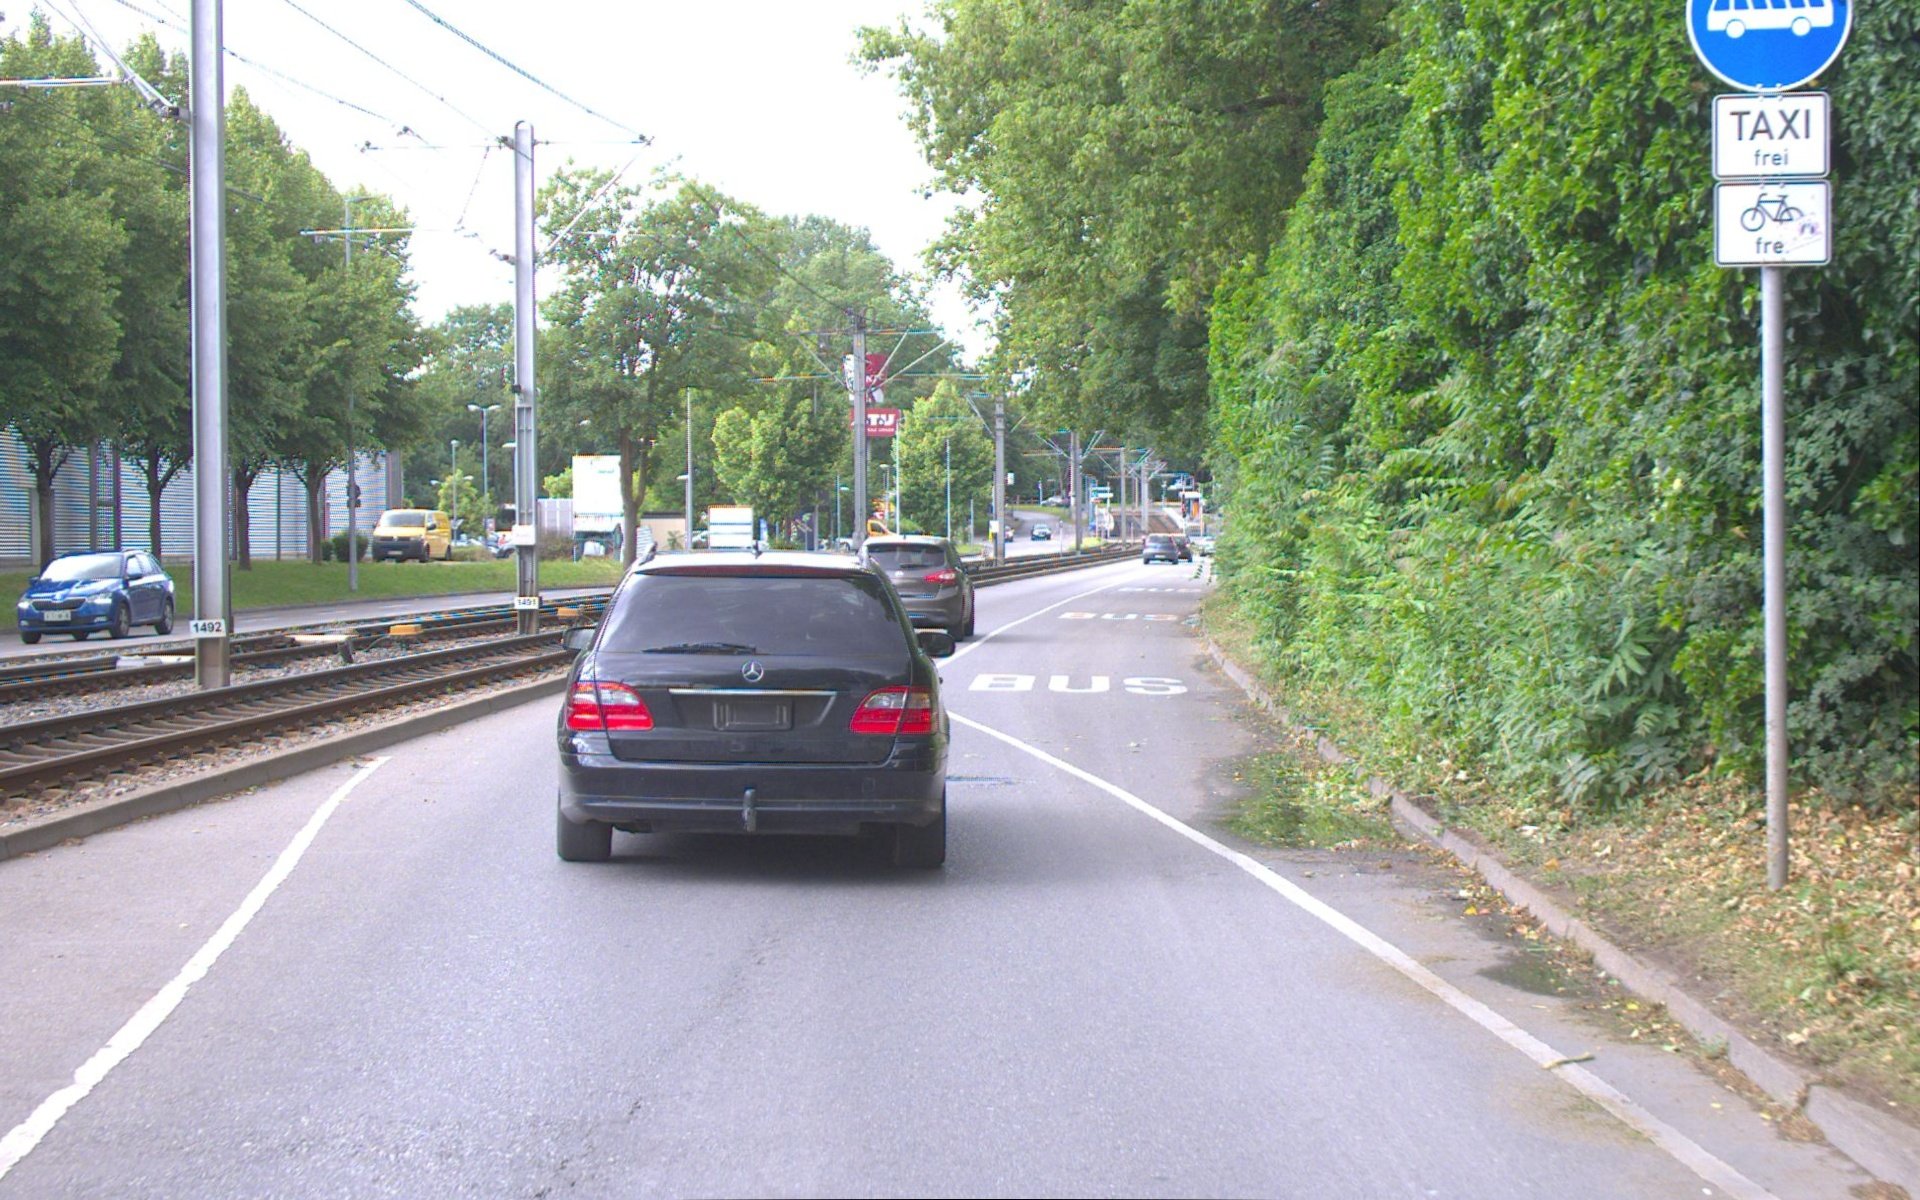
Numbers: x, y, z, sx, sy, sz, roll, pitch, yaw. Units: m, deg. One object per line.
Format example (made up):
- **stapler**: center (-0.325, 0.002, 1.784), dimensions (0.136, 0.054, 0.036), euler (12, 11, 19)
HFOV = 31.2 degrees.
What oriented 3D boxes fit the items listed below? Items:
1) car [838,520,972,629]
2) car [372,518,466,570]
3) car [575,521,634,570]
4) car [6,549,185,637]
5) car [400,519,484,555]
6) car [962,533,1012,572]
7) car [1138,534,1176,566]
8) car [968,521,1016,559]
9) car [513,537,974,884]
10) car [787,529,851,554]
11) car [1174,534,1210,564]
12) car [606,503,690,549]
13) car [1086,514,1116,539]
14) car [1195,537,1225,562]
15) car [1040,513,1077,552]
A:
- **car**: center (-0.772, -0.401, 50.884), dimensions (1.825, 1.524, 4.416), euler (1, 1, 1)
- **car**: center (-18.680, -1.939, 118.890), dimensions (1.994, 1.737, 4.987), euler (-1, 1, 5)
- **car**: center (-15.431, -2.354, 149.376), dimensions (1.993, 2.007, 4.000), euler (-2, 1, 1)
- **car**: center (-14.169, -0.138, 56.506), dimensions (1.660, 1.388, 3.718), euler (0, 1, 6)
- **car**: center (-26.258, -3.169, 174.249), dimensions (3.986, 1.674, 2.001), euler (-2, 1, -13)
- **car**: center (1.118, -1.928, 138.468), dimensions (1.825, 1.524, 3.986), euler (1, 1, 3)
- **car**: center (9.625, -2.453, 168.066), dimensions (1.825, 1.524, 4.415), euler (1, 1, 3)
- **car**: center (1.357, -2.513, 143.310), dimensions (1.825, 1.524, 3.986), euler (1, 1, 3)
- **car**: center (-0.921, 0.442, 16.960), dimensions (1.833, 1.473, 4.415), euler (1, 1, 2)
- **car**: center (-9.227, -3.820, 224.976), dimensions (3.987, 1.639, 2.000), euler (1, 1, 4)
- **car**: center (12.124, -2.695, 179.838), dimensions (1.825, 1.524, 4.179), euler (1, 1, 3)
- **car**: center (-15.412, -3.662, 169.954), dimensions (3.986, 2.116, 2.000), euler (-2, 1, -3)
- **car**: center (9.040, -4.702, 220.441), dimensions (1.825, 1.524, 4.179), euler (1, 1, 3)
- **car**: center (15.894, -3.229, 218.654), dimensions (1.825, 1.524, 4.179), euler (1, 1, 3)
- **car**: center (5.250, -3.586, 183.066), dimensions (1.891, 2.007, 3.898), euler (-2, 1, 2)
